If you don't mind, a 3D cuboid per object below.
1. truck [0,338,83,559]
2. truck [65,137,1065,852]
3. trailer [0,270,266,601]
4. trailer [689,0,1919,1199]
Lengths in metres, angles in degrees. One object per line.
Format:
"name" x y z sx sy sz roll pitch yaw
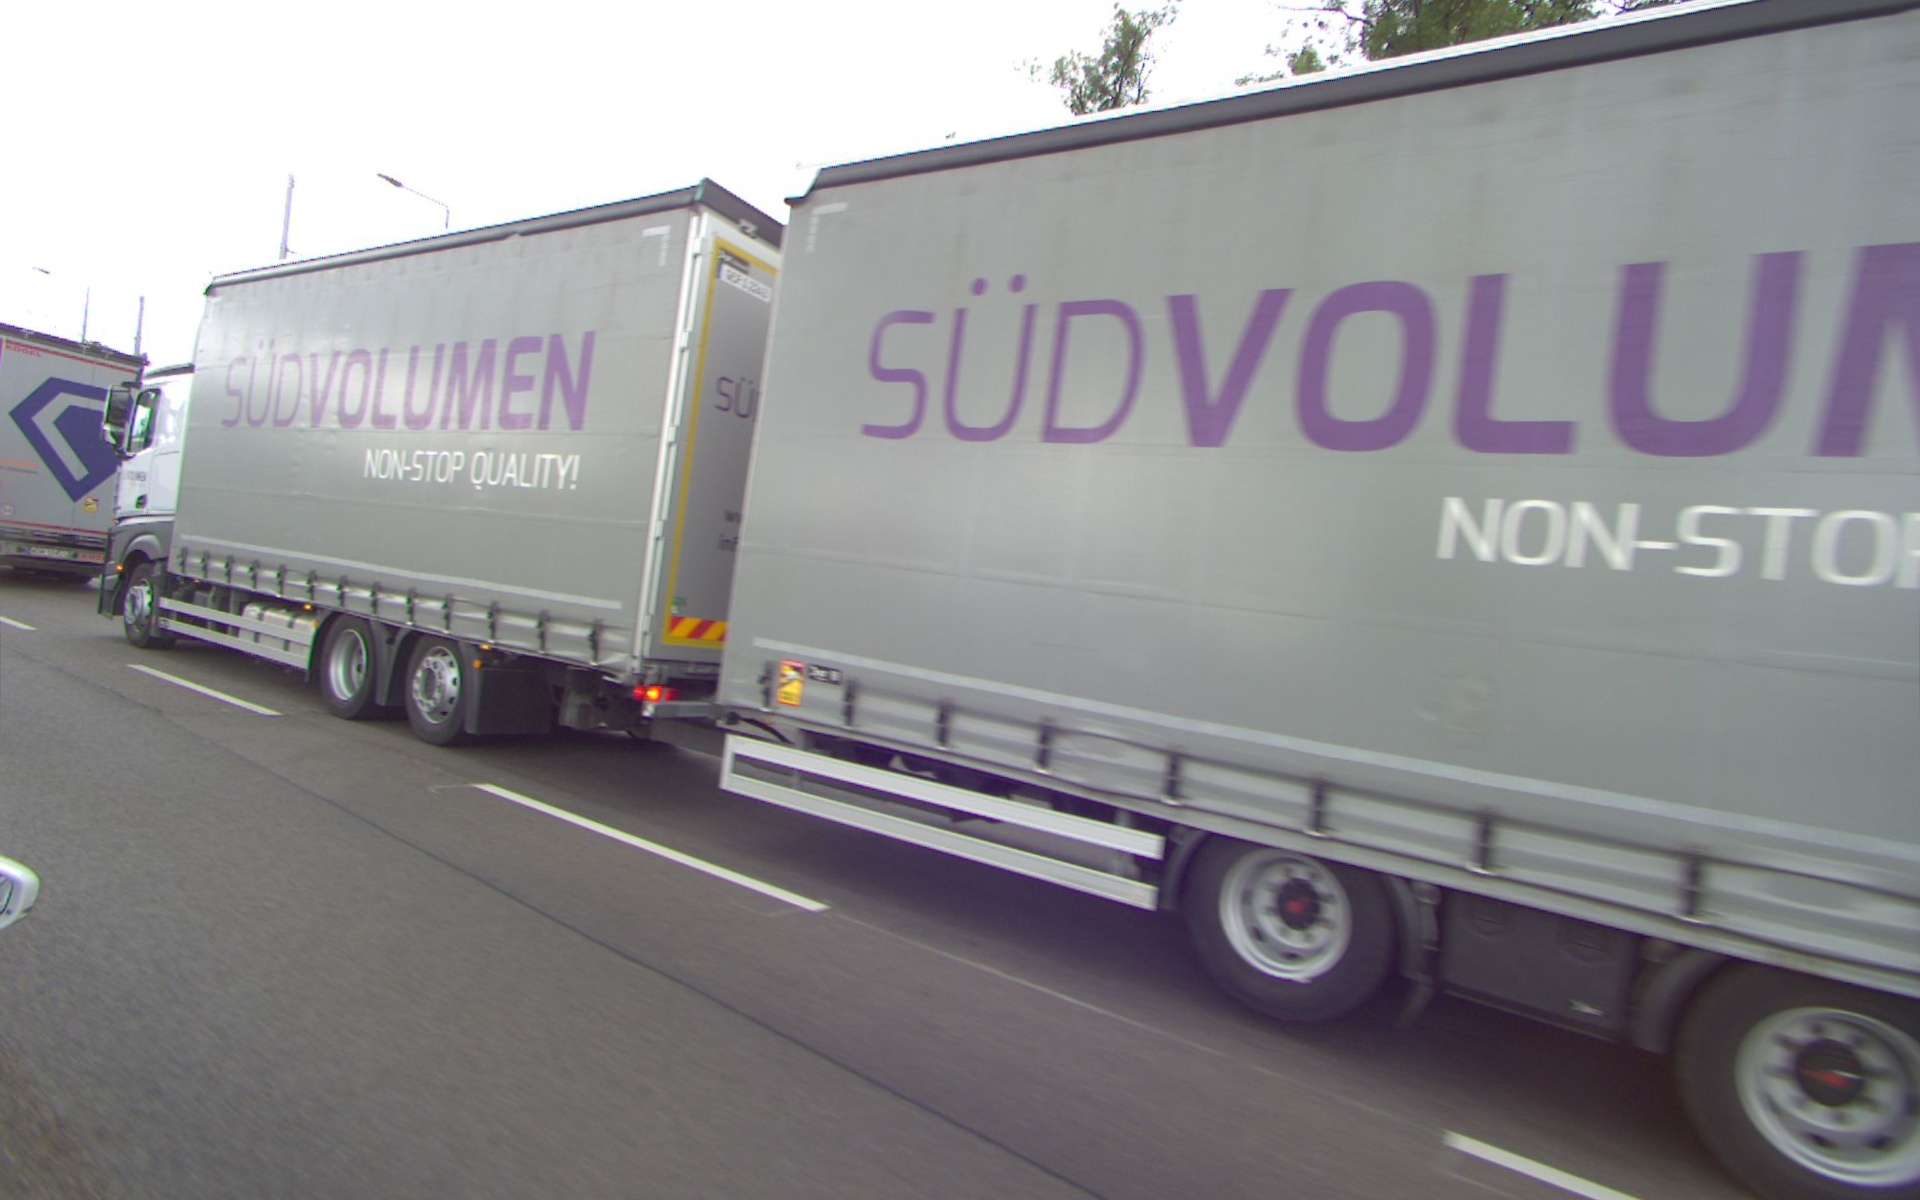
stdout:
"truck" -24.723 -3.873 23.705 7.320 4.685 3.812 7 -1 33
"truck" -4.795 -0.970 10.410 10.806 4.189 3.730 7 -1 34
"trailer" -18.986 -3.145 19.991 11.915 4.685 3.812 7 -1 33
"trailer" 4.160 0.087 4.407 10.806 4.189 3.730 7 -1 34
